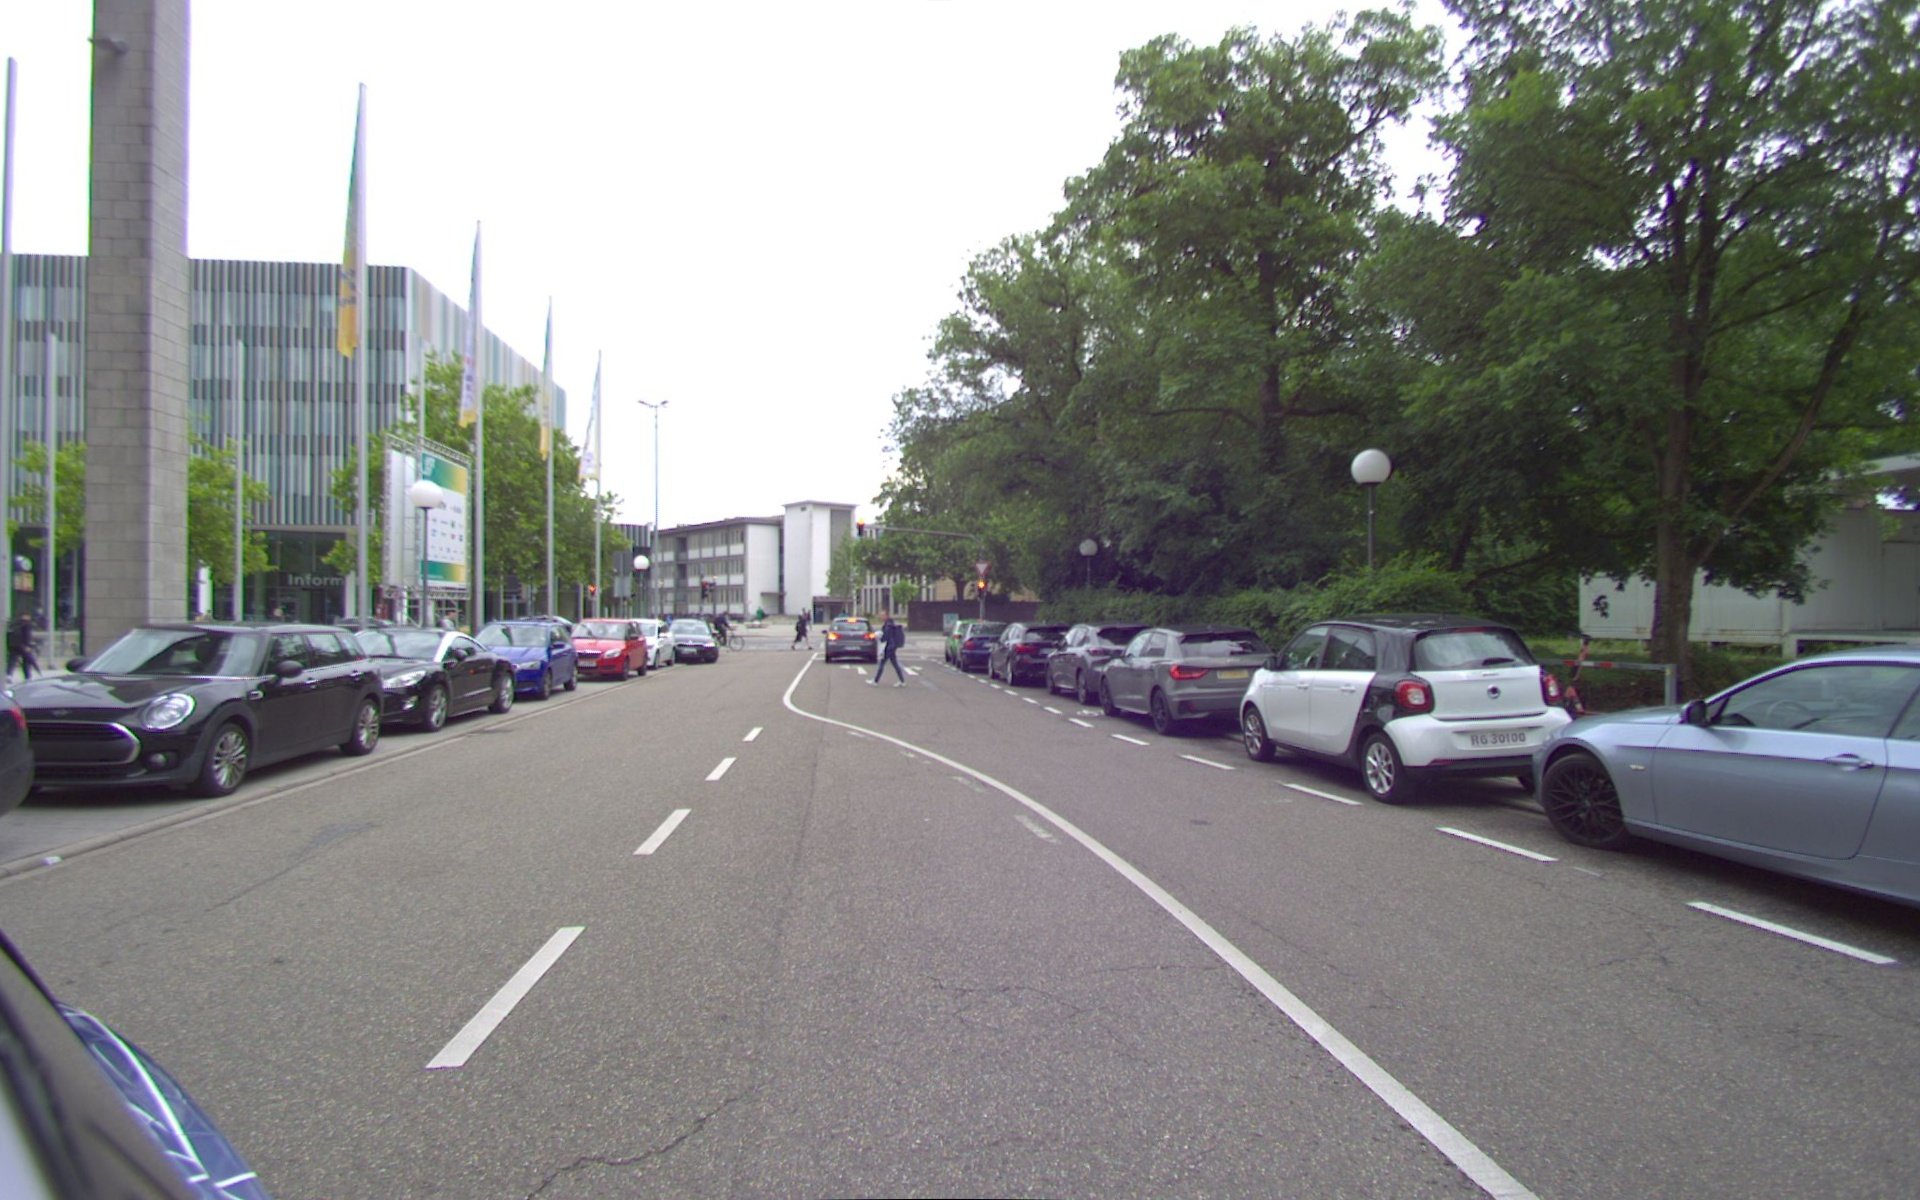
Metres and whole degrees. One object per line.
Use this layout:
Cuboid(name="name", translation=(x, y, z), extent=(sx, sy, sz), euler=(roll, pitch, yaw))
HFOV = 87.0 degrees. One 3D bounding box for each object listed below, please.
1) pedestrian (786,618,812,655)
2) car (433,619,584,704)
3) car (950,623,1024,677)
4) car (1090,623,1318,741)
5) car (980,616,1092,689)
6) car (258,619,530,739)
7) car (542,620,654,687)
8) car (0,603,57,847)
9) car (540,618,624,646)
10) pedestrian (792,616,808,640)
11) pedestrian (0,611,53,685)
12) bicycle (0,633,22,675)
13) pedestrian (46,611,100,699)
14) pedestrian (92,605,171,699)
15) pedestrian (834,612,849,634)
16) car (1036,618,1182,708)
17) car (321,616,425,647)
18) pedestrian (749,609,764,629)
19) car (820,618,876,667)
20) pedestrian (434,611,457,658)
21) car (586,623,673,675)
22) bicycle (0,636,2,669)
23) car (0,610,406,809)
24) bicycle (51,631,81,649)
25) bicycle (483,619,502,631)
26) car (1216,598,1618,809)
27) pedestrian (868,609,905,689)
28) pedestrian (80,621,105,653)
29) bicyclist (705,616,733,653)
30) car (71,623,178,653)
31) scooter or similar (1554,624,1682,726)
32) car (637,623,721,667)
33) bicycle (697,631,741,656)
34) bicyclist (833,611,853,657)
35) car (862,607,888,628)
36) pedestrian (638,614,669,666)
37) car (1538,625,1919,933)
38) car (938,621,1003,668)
Cuboid(name="pedestrian", translation=(-7.340, 1.664, 46.212), extent=(1.026, 1.632, 0.660), euler=(0, -1, -22))
Cuboid(name="car", translation=(-8.627, 1.110, 19.720), extent=(1.673, 1.422, 4.386), euler=(1, -1, -10))
Cuboid(name="car", translation=(0.712, 1.401, 29.713), extent=(1.777, 1.419, 4.339), euler=(0, -1, -3))
Cuboid(name="car", translation=(3.252, 1.051, 14.388), extent=(1.741, 1.422, 4.015), euler=(0, -2, -8))
Cuboid(name="car", translation=(1.695, 1.208, 24.174), extent=(1.775, 1.573, 4.537), euler=(0, -2, -7))
Cuboid(name="car", translation=(-7.847, 1.058, 14.587), extent=(1.826, 1.453, 4.424), euler=(0, -3, -6))
Cuboid(name="car", translation=(-8.964, 1.283, 25.386), extent=(1.691, 1.484, 4.280), euler=(2, -2, -7))
Cuboid(name="car", translation=(-6.475, 0.722, 3.936), extent=(1.969, 1.463, 4.930), euler=(0, -1, -7))
Cuboid(name="car", translation=(-21.725, 1.814, 58.271), extent=(4.225, 1.500, 2.003), euler=(0, 0, -7))
Cuboid(name="pedestrian", translation=(-12.293, 2.175, 77.877), extent=(0.894, 1.802, 0.834), euler=(-2, -2, 41))
Cuboid(name="pedestrian", translation=(-21.718, 1.101, 23.452), extent=(0.746, 1.682, 0.706), euler=(1, 0, -5))
Cuboid(name="bicycle", translation=(-27.107, 1.502, 28.029), extent=(0.450, 1.179, 2.419), euler=(-1, -3, -11))
Cuboid(name="pedestrian", translation=(-19.031, 1.166, 21.718), extent=(0.583, 1.855, 0.621), euler=(1, -2, -6))
Cuboid(name="pedestrian", translation=(-15.182, 0.954, 18.576), extent=(0.725, 1.653, 0.933), euler=(-1, -3, -9))
Cuboid(name="pedestrian", translation=(-9.241, 1.769, 78.945), extent=(0.809, 1.677, 0.780), euler=(-6, -5, 43))
Cuboid(name="car", translation=(2.661, 1.101, 18.987), extent=(1.740, 1.482, 3.830), euler=(0, -1, -7))
Cuboid(name="car", translation=(-33.477, 1.782, 57.829), extent=(4.762, 1.675, 2.004), euler=(-1, -1, -9))
Cuboid(name="pedestrian", translation=(-18.158, 1.687, 90.288), extent=(0.905, 1.727, 0.938), euler=(0, 0, 40))
Cuboid(name="car", translation=(-3.781, 1.371, 33.854), extent=(1.761, 1.508, 4.174), euler=(0, -1, -7))
Cuboid(name="pedestrian", translation=(-19.282, 1.288, 37.949), extent=(0.662, 1.728, 0.680), euler=(0, -1, -18))
Cuboid(name="car", translation=(-10.018, 1.453, 30.940), extent=(1.837, 1.464, 3.864), euler=(0, -1, -7))
Cuboid(name="bicycle", translation=(-31.338, 1.683, 32.069), extent=(0.450, 1.057, 1.940), euler=(1, -2, -11))
Cuboid(name="car", translation=(-7.220, 0.863, 9.733), extent=(1.795, 1.454, 4.528), euler=(2, -1, -8))
Cuboid(name="bicycle", translation=(-66.760, 2.994, 75.584), extent=(0.618, 1.268, 2.108), euler=(0, -1, -9))
Cuboid(name="bicycle", translation=(-38.369, 2.077, 83.070), extent=(2.004, 0.943, 0.478), euler=(0, 0, 34))
Cuboid(name="car", translation=(4.060, 0.851, 9.809), extent=(1.694, 1.598, 3.884), euler=(-1, -2, -8))
Cuboid(name="pedestrian", translation=(-1.564, 1.040, 21.610), extent=(0.730, 1.674, 0.968), euler=(1, -2, -1))
Cuboid(name="pedestrian", translation=(-54.714, 2.325, 63.841), extent=(0.841, 2.029, 1.004), euler=(0, -1, -17))
Cuboid(name="bicyclist", translation=(-10.845, 1.536, 45.551), extent=(0.875, 1.653, 0.856), euler=(-2, -2, 40))
Cuboid(name="car", translation=(-46.356, 2.088, 56.235), extent=(4.127, 1.630, 2.004), euler=(0, -1, -9))
Cuboid(name="scooter or similar", translation=(8.230, 0.920, 12.689), extent=(1.303, 1.219, 0.445), euler=(-1, -1, 35))
Cuboid(name="car", translation=(-9.989, 1.539, 35.726), extent=(1.834, 1.412, 4.492), euler=(1, -2, -29))
Cuboid(name="bicycle", translation=(-10.849, 1.937, 45.535), extent=(0.875, 1.101, 1.777), euler=(-2, -2, 39))
Cuboid(name="bicyclist", translation=(-4.661, 1.345, 40.336), extent=(0.648, 1.793, 0.986), euler=(0, -1, -14))
Cuboid(name="car", translation=(-9.560, 1.971, 113.952), extent=(1.976, 1.594, 4.394), euler=(-8, -8, 4))
Cuboid(name="pedestrian", translation=(-10.780, 1.402, 35.619), extent=(0.783, 1.801, 0.820), euler=(0, -1, 5))
Cuboid(name="car", translation=(5.295, 0.846, 5.142), extent=(1.794, 1.399, 4.202), euler=(-1, -1, -9))
Cuboid(name="car", translation=(0.295, 1.479, 34.781), extent=(1.776, 1.481, 4.253), euler=(0, -1, -5))
